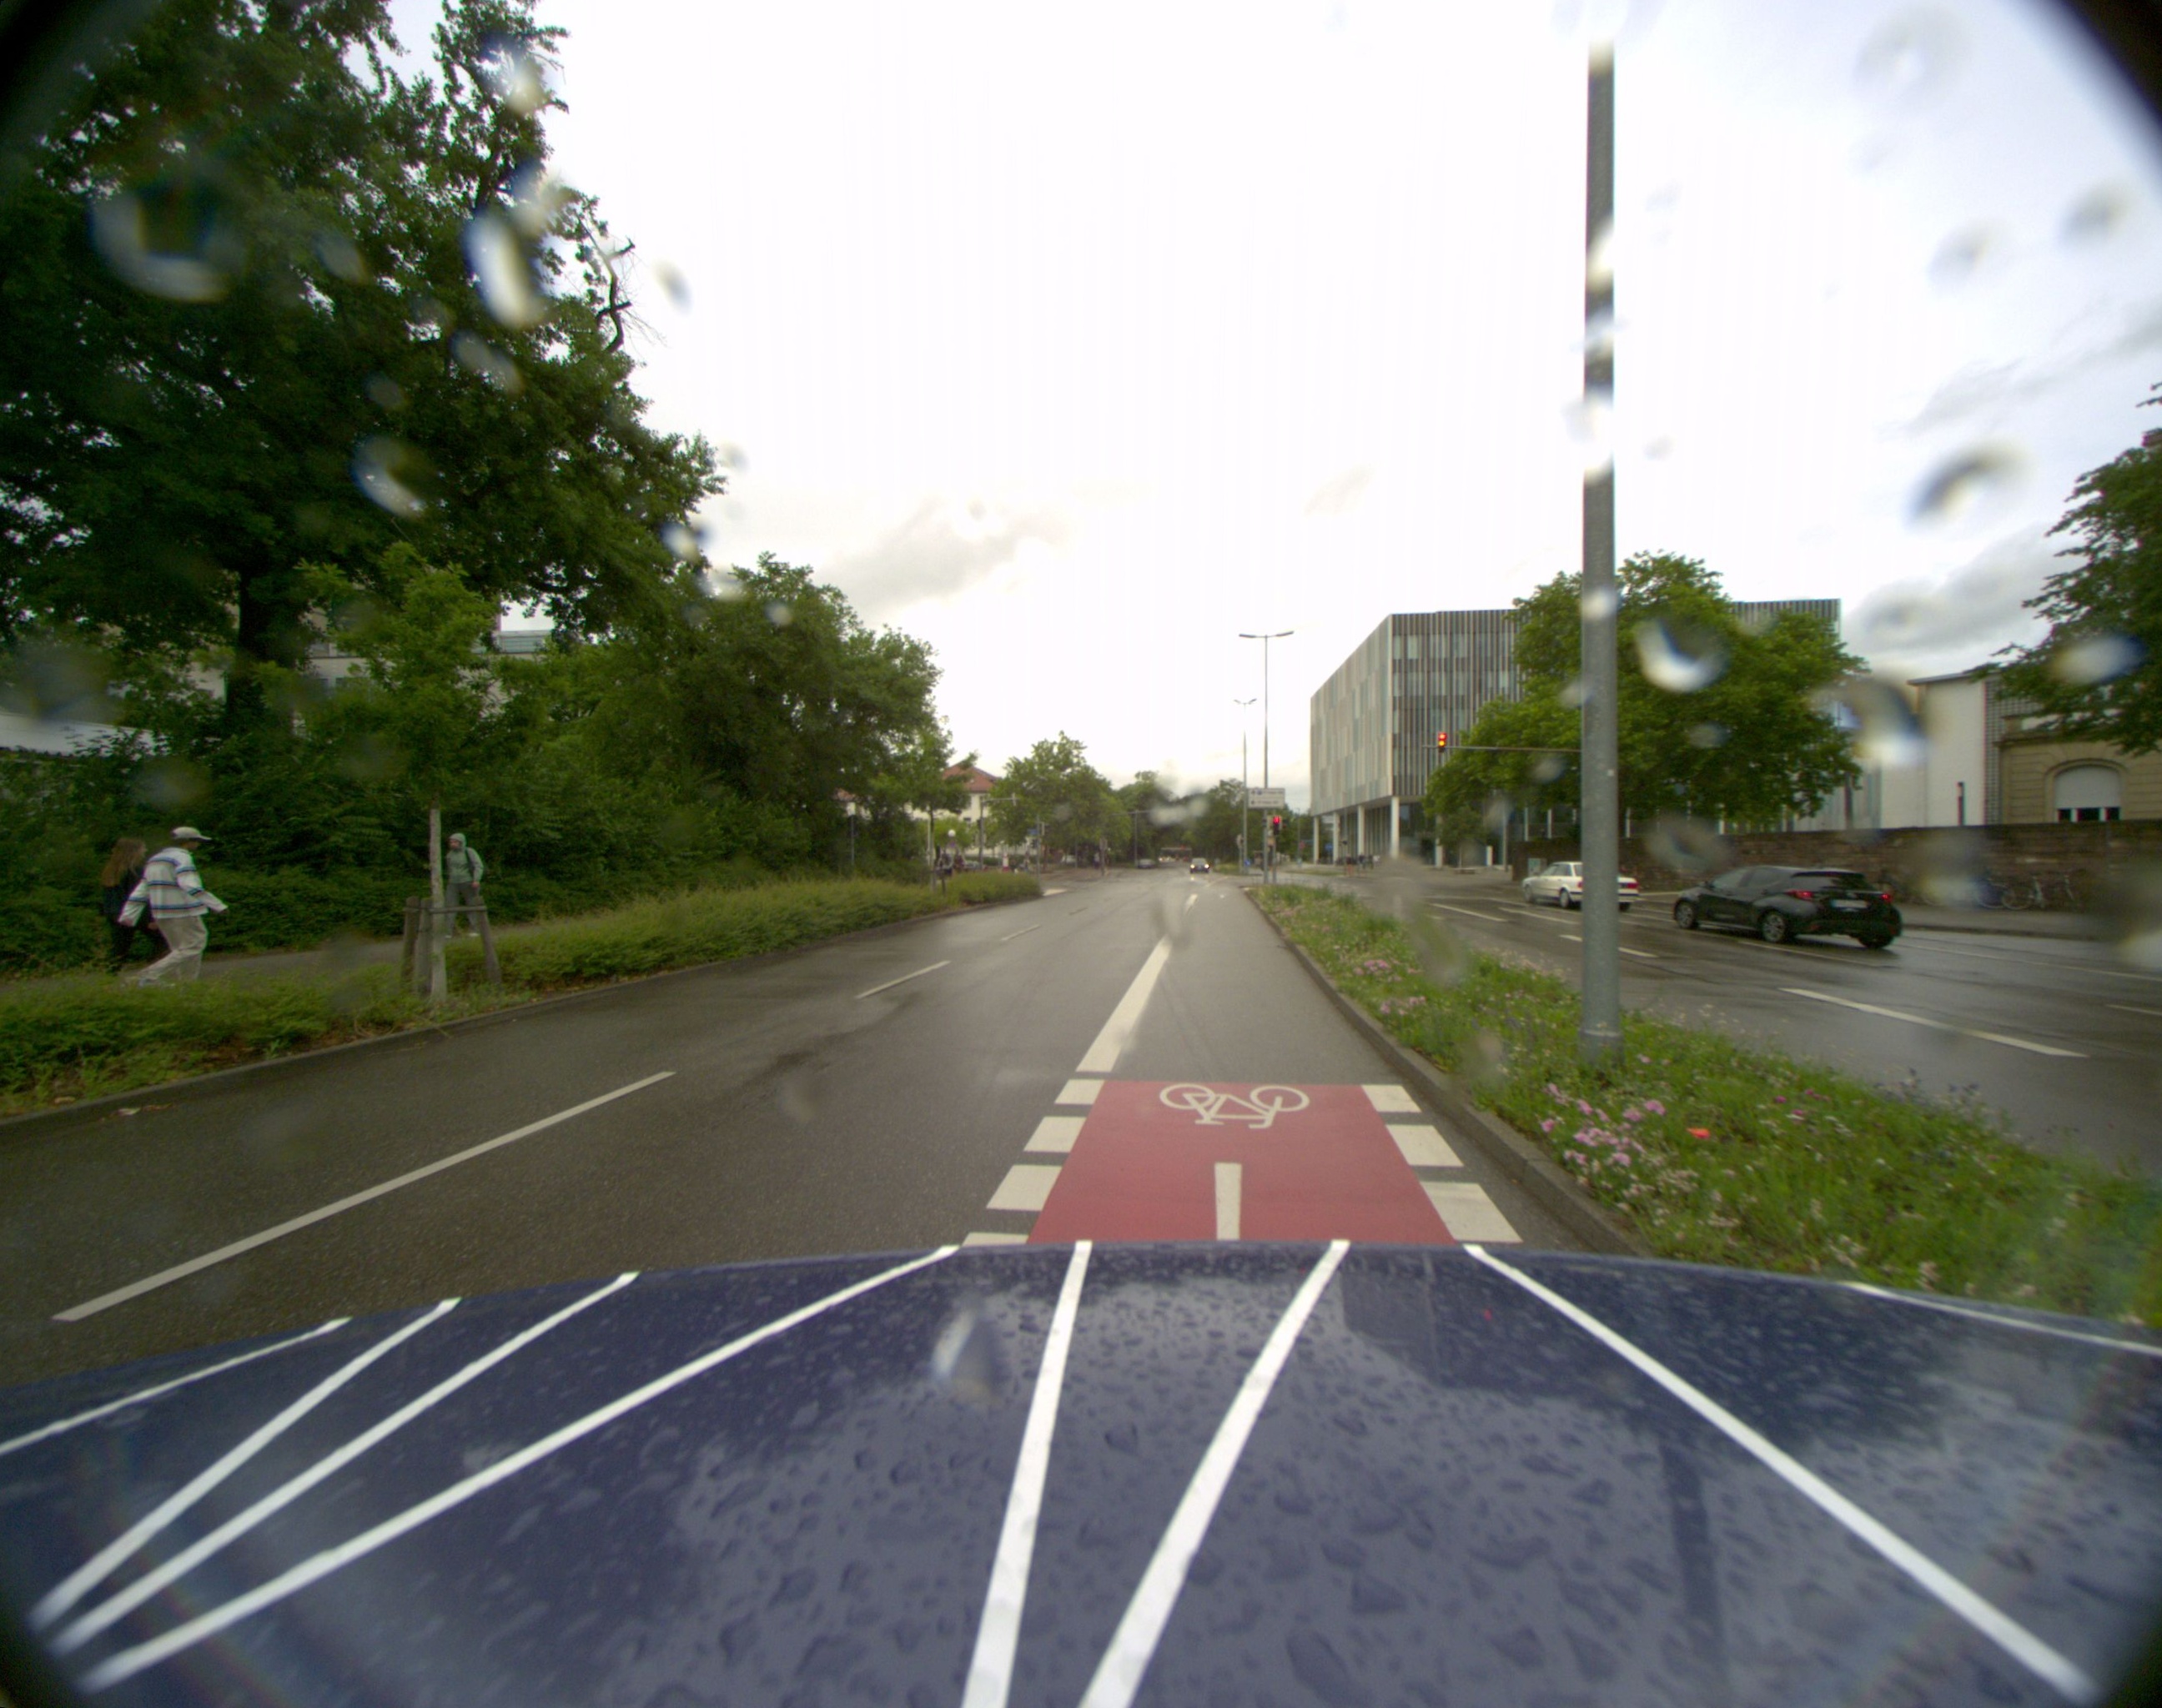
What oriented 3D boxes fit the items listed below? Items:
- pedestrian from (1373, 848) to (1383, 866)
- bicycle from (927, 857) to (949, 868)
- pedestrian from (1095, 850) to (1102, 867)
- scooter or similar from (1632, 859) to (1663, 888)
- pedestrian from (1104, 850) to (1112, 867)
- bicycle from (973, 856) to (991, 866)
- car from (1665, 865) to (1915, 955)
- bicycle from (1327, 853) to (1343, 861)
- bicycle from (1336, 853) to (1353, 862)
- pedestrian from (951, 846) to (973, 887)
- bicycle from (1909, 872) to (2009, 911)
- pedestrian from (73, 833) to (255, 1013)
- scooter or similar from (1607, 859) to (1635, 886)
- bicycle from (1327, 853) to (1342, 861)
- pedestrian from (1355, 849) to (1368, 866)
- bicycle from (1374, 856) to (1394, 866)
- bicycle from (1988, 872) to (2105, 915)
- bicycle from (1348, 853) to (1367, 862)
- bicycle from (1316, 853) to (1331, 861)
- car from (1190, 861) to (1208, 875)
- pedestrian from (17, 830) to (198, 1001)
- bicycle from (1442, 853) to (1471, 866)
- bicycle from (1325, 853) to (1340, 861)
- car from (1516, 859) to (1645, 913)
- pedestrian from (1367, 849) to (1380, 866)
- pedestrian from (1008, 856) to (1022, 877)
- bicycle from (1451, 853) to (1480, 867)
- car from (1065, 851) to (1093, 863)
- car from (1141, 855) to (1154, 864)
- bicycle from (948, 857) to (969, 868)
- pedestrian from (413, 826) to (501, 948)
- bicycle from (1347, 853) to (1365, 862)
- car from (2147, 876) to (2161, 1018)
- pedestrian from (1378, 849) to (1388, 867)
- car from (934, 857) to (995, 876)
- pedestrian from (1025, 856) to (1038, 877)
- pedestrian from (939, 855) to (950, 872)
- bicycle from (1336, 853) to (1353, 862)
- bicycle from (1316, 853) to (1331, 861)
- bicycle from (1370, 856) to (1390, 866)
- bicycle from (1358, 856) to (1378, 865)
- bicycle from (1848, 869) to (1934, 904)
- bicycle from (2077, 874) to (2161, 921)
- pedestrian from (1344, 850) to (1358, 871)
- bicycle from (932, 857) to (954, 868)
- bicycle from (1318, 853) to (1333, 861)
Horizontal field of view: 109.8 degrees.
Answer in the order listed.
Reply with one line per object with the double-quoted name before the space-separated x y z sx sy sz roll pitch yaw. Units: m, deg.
"pedestrian" 30.925 0.325 79.174 0.787 1.814 0.624 0 1 -14
"bicycle" -15.357 0.900 81.617 2.285 1.215 0.598 0 1 -4
"pedestrian" 1.868 0.490 79.255 0.624 1.814 0.786 0 1 -6
"scooter or similar" 24.301 0.833 32.600 0.392 1.191 1.142 -7 0 3
"pedestrian" 2.834 0.480 79.347 0.625 1.814 0.786 0 1 -13
"bicycle" -12.829 0.885 98.473 2.285 1.215 0.598 0 1 -4
"car" 13.698 0.988 15.059 1.626 1.407 4.069 1 1 10
"bicycle" 38.850 0.463 116.176 2.281 1.215 0.600 0 0 18
"bicycle" 37.728 0.471 108.796 2.281 1.215 0.600 0 0 18
"pedestrian" -5.440 0.585 34.787 0.730 1.848 0.851 0 1 15
"bicycle" 23.928 0.998 20.755 0.733 0.977 1.701 -1 0 -2
"pedestrian" -9.319 0.681 7.753 0.934 1.710 0.830 -1 -2 13
"scooter or similar" 24.461 0.831 34.427 0.391 1.191 1.142 -7 0 4
"bicycle" 38.981 0.462 116.916 2.281 1.215 0.600 0 0 18
"pedestrian" 29.820 0.362 80.892 0.940 1.814 0.922 0 1 -21
"bicycle" 37.177 0.825 93.325 2.285 1.215 0.598 0 1 -4
"bicycle" 24.119 0.968 19.028 0.733 0.977 1.701 -1 0 -2
"bicycle" 37.387 0.477 102.773 2.281 1.215 0.600 0 0 18
"bicycle" 39.286 0.456 123.190 2.281 1.215 0.600 0 0 18
"car" 11.659 1.355 75.035 1.659 1.356 4.109 0 0 7
"pedestrian" -10.258 0.635 8.035 0.934 1.693 0.830 -1 -2 13
"bicycle" 33.712 0.479 68.209 2.285 1.215 0.598 0 1 -4
"bicycle" 39.140 0.461 118.202 2.281 1.215 0.600 0 0 18
"car" 15.137 0.904 23.323 1.598 1.407 4.527 1 1 10
"pedestrian" 31.036 0.359 80.621 0.940 1.814 0.922 0 1 -14
"pedestrian" -5.162 0.953 59.374 0.878 1.598 0.862 0 1 -19
"bicycle" 33.975 0.544 67.177 2.285 1.215 0.598 0 1 -4
"car" -0.324 0.492 123.508 4.423 1.862 1.638 0 0 1
"car" 9.547 0.745 108.335 1.659 1.259 4.109 0 0 7
"bicycle" -13.691 0.915 84.887 2.285 1.215 0.598 0 1 -4
"pedestrian" -10.611 0.537 12.946 0.791 2.002 0.830 0 1 15
"bicycle" 37.575 0.476 103.845 2.281 1.215 0.600 0 0 18
"car" 12.111 1.029 5.813 1.811 1.531 4.707 1 0 11
"pedestrian" 30.711 0.424 77.233 0.787 1.814 0.624 0 1 -14
"car" -9.145 0.973 59.854 4.384 1.330 1.773 0 3 5
"pedestrian" -3.873 0.954 59.436 0.878 1.598 0.862 0 1 -13
"pedestrian" -13.780 0.955 76.473 0.850 1.728 1.121 -1 1 -23
"bicycle" 37.476 0.472 107.997 2.281 1.215 0.600 0 0 18
"bicycle" 38.880 0.458 121.843 2.281 1.215 0.600 0 0 18
"bicycle" 36.938 0.824 93.981 2.285 1.215 0.598 0 1 -4
"bicycle" 36.510 0.822 96.573 2.285 1.215 0.598 0 1 -4
"bicycle" 24.214 0.947 22.760 0.733 0.977 1.701 -1 0 -2
"bicycle" 23.700 0.953 16.884 0.733 0.977 1.865 -1 0 2
"pedestrian" 23.542 0.602 66.287 0.787 1.814 0.795 0 1 -14
"bicycle" -14.970 0.895 82.266 2.285 1.215 0.598 0 1 -4
"bicycle" 38.616 0.460 119.863 2.281 1.215 0.600 0 0 18
